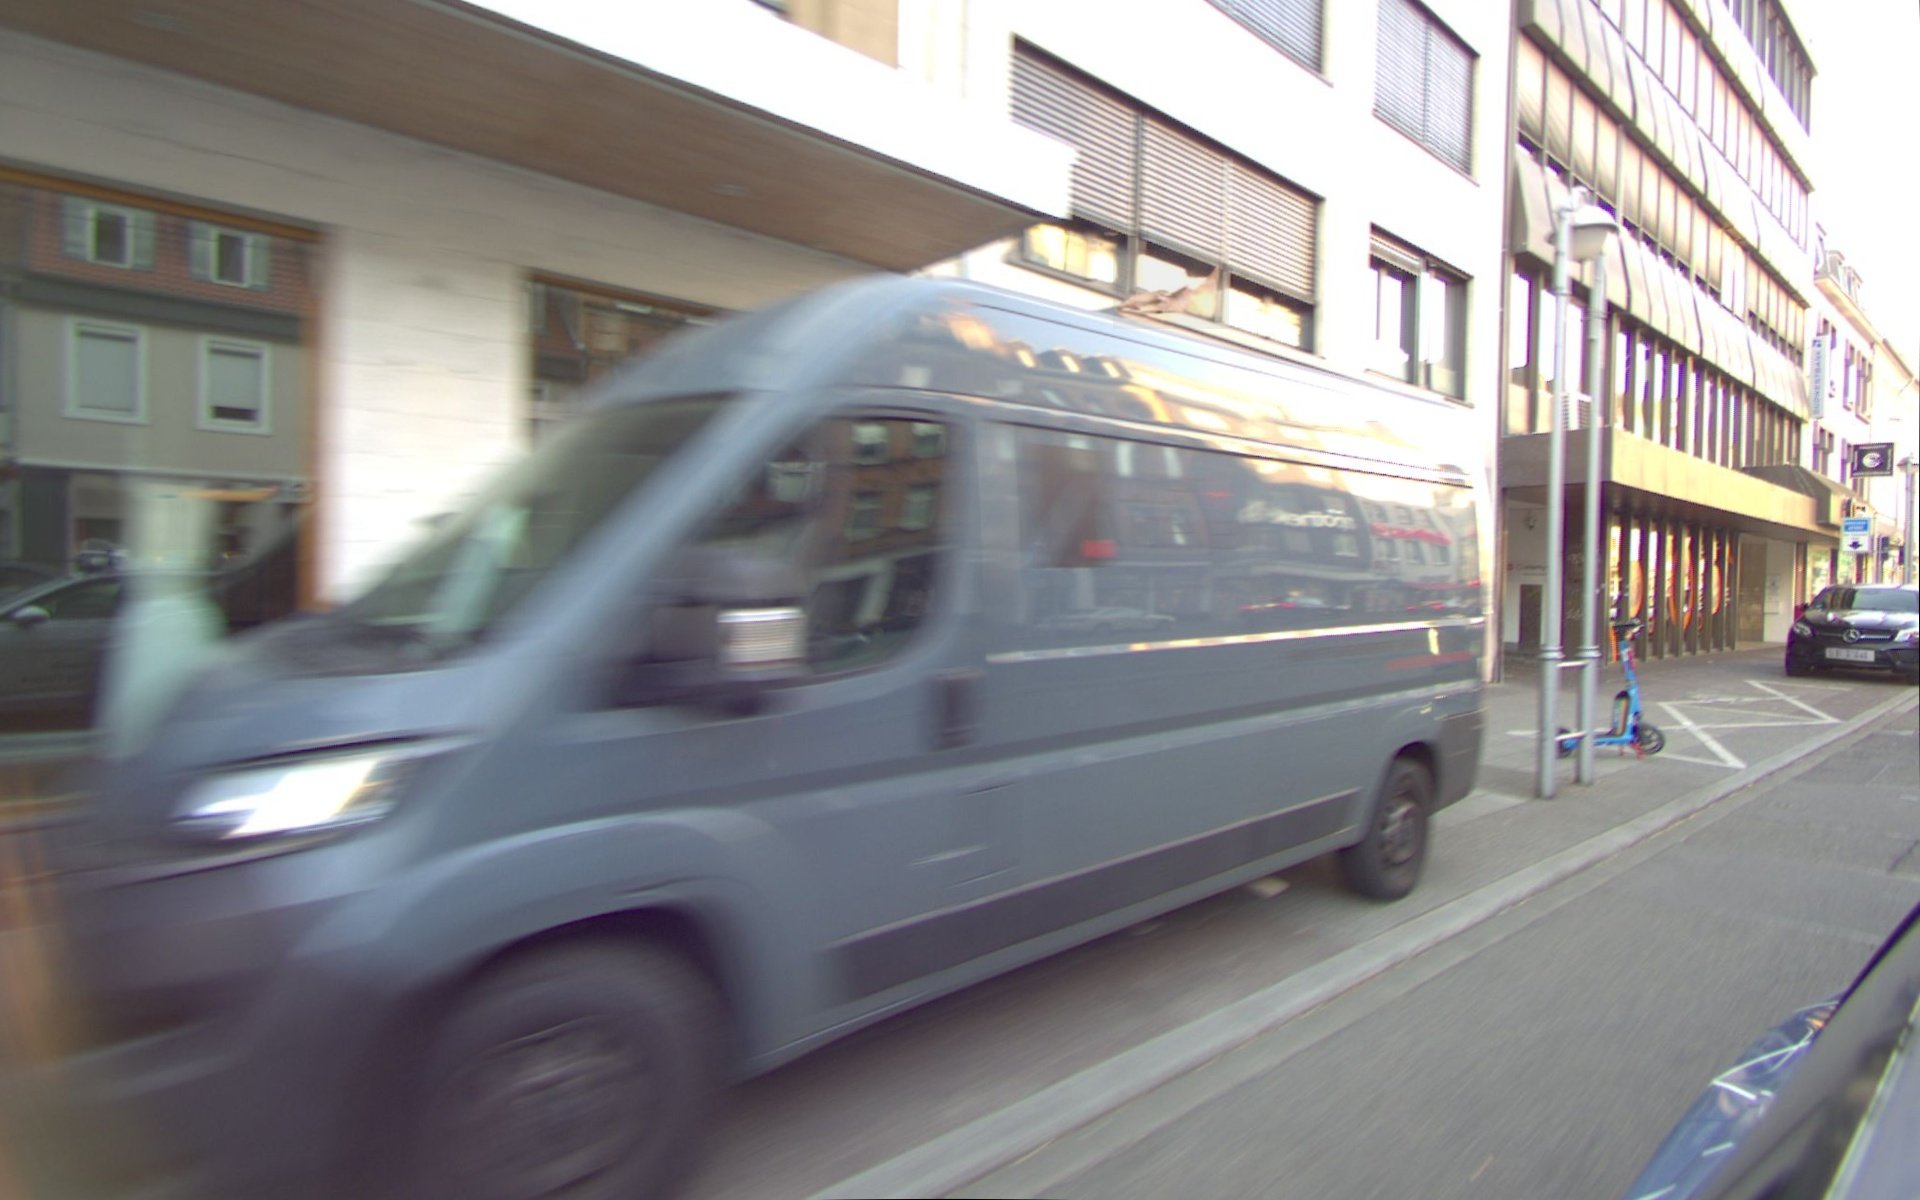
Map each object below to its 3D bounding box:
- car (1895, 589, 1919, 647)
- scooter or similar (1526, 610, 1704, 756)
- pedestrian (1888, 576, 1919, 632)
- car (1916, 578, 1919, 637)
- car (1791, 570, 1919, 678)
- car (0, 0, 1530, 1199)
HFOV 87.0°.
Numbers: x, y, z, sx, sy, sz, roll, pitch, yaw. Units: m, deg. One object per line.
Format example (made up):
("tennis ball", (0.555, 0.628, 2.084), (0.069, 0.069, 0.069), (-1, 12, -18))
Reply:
("car", (26.238, 0.484, 26.746), (3.818, 1.451, 1.799), (0, 2, -41))
("scooter or similar", (5.807, 0.726, 9.008), (1.240, 1.235, 0.500), (1, 1, -3))
("pedestrian", (31.824, 0.125, 33.971), (0.911, 1.828, 0.768), (0, 3, -39))
("car", (30.731, 0.267, 30.711), (4.496, 1.748, 1.998), (0, 3, -41))
("car", (17.119, 0.369, 18.656), (4.485, 1.748, 1.998), (0, 2, -41))
("car", (0.088, 0.105, 4.242), (5.927, 2.485, 2.097), (0, 3, -41))
